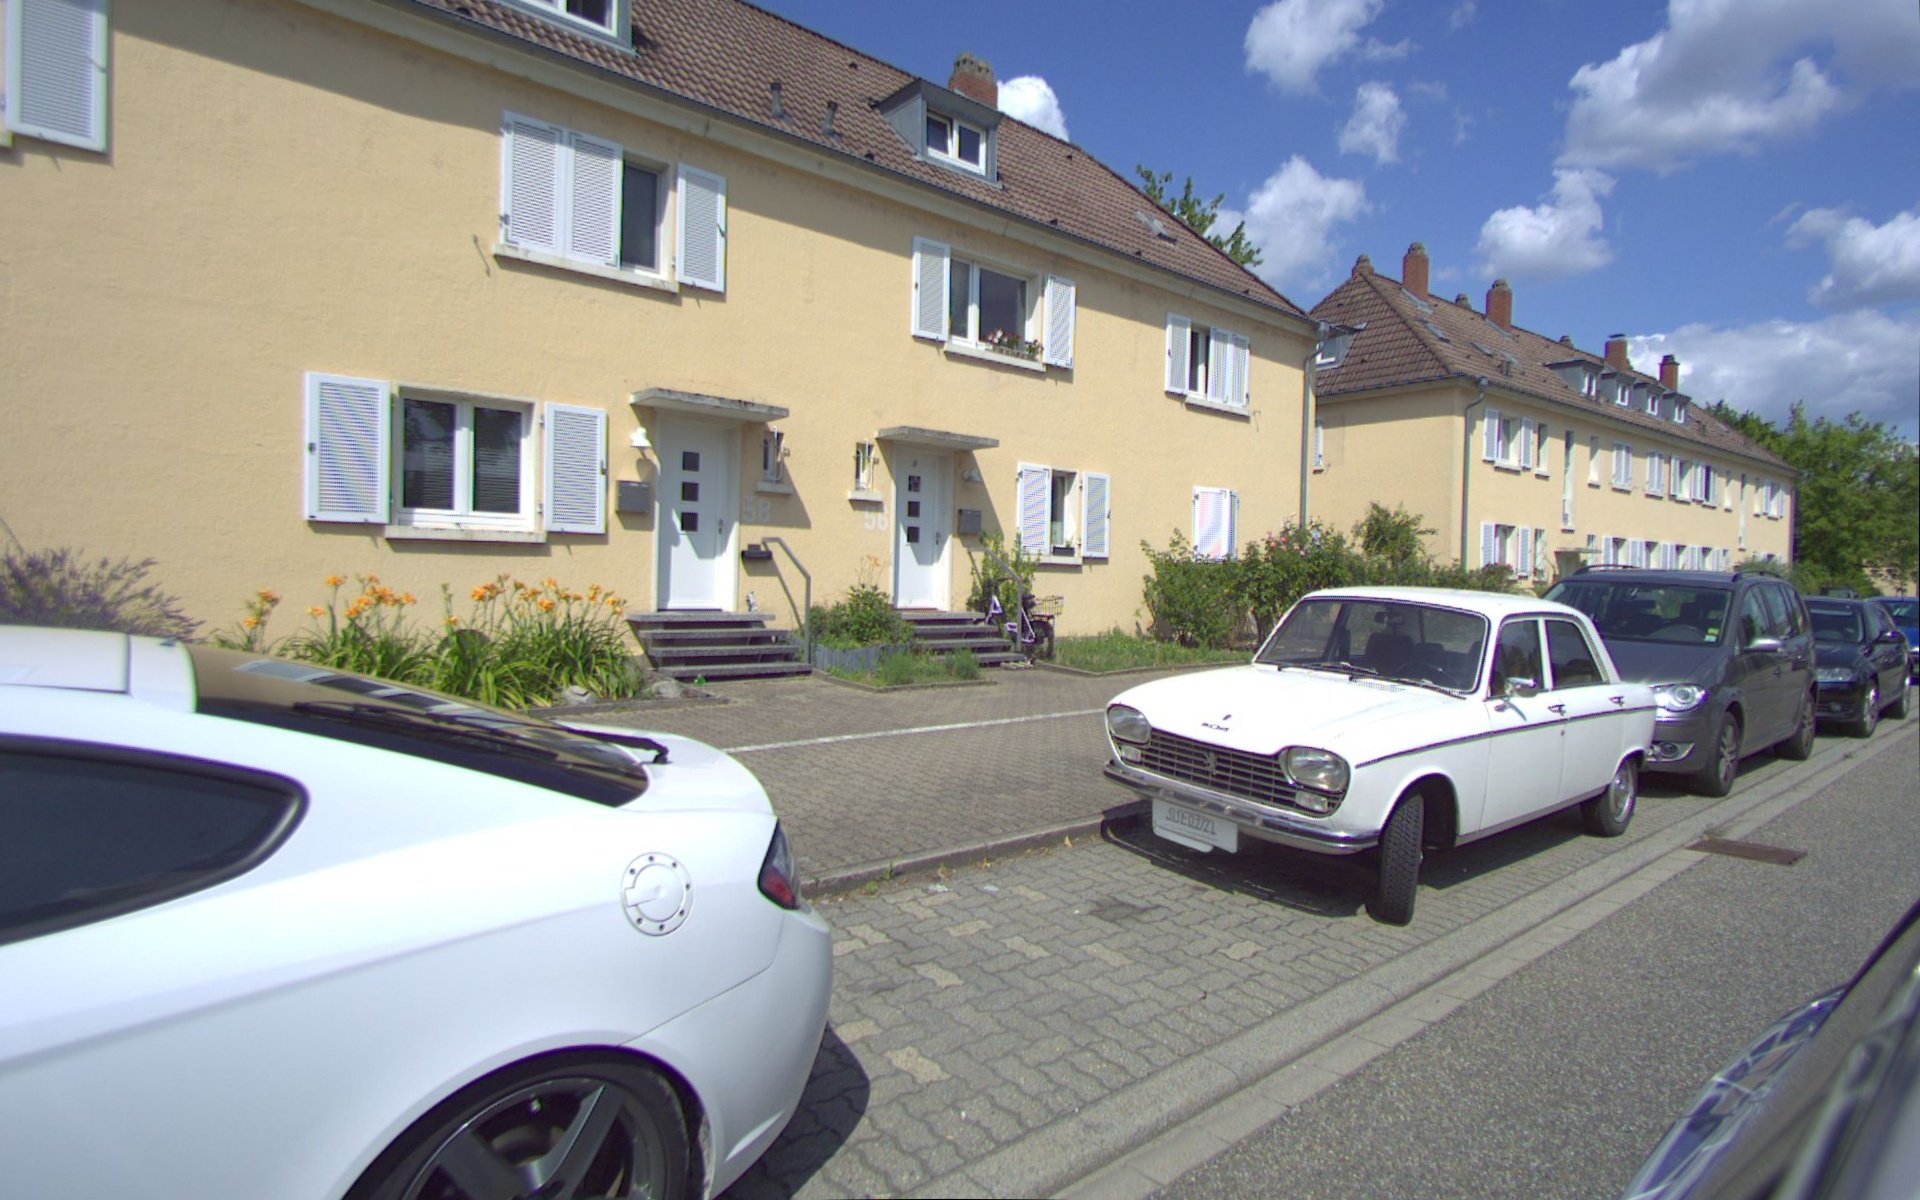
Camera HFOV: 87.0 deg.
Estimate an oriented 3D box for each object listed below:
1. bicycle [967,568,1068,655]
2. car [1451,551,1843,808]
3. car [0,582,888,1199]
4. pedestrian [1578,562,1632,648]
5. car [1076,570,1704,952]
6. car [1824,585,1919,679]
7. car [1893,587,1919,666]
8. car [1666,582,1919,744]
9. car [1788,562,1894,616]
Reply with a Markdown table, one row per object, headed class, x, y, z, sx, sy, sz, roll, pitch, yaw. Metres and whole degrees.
| class | x | y | z | sx | sy | sz | roll | pitch | yaw |
| --- | --- | --- | --- | --- | --- | --- | --- | --- | --- |
| bicycle | 0.760 | 0.130 | 13.796 | 0.285 | 1.116 | 1.693 | 0 | 1 | -40 |
| car | 5.970 | 0.477 | 8.591 | 4.196 | 1.650 | 1.683 | 0 | 3 | -41 |
| car | -2.254 | 0.653 | 1.505 | 4.057 | 1.311 | 1.724 | 0 | 3 | -41 |
| pedestrian | 12.927 | 0.083 | 20.294 | 0.885 | 1.658 | 0.617 | 0 | 3 | -40 |
| car | 2.651 | 0.594 | 5.797 | 3.954 | 1.436 | 1.654 | 0 | 3 | -40 |
| car | 16.783 | 0.510 | 17.806 | 3.829 | 1.446 | 1.702 | -1 | 4 | -39 |
| car | 20.657 | 0.541 | 20.663 | 4.545 | 1.507 | 1.756 | 0 | 3 | -40 |
| car | 9.952 | 0.573 | 11.822 | 4.437 | 1.454 | 1.689 | -1 | 4 | -40 |
| car | 30.469 | -0.380 | 34.976 | 3.972 | 1.768 | 1.928 | 0 | 2 | -37 |
